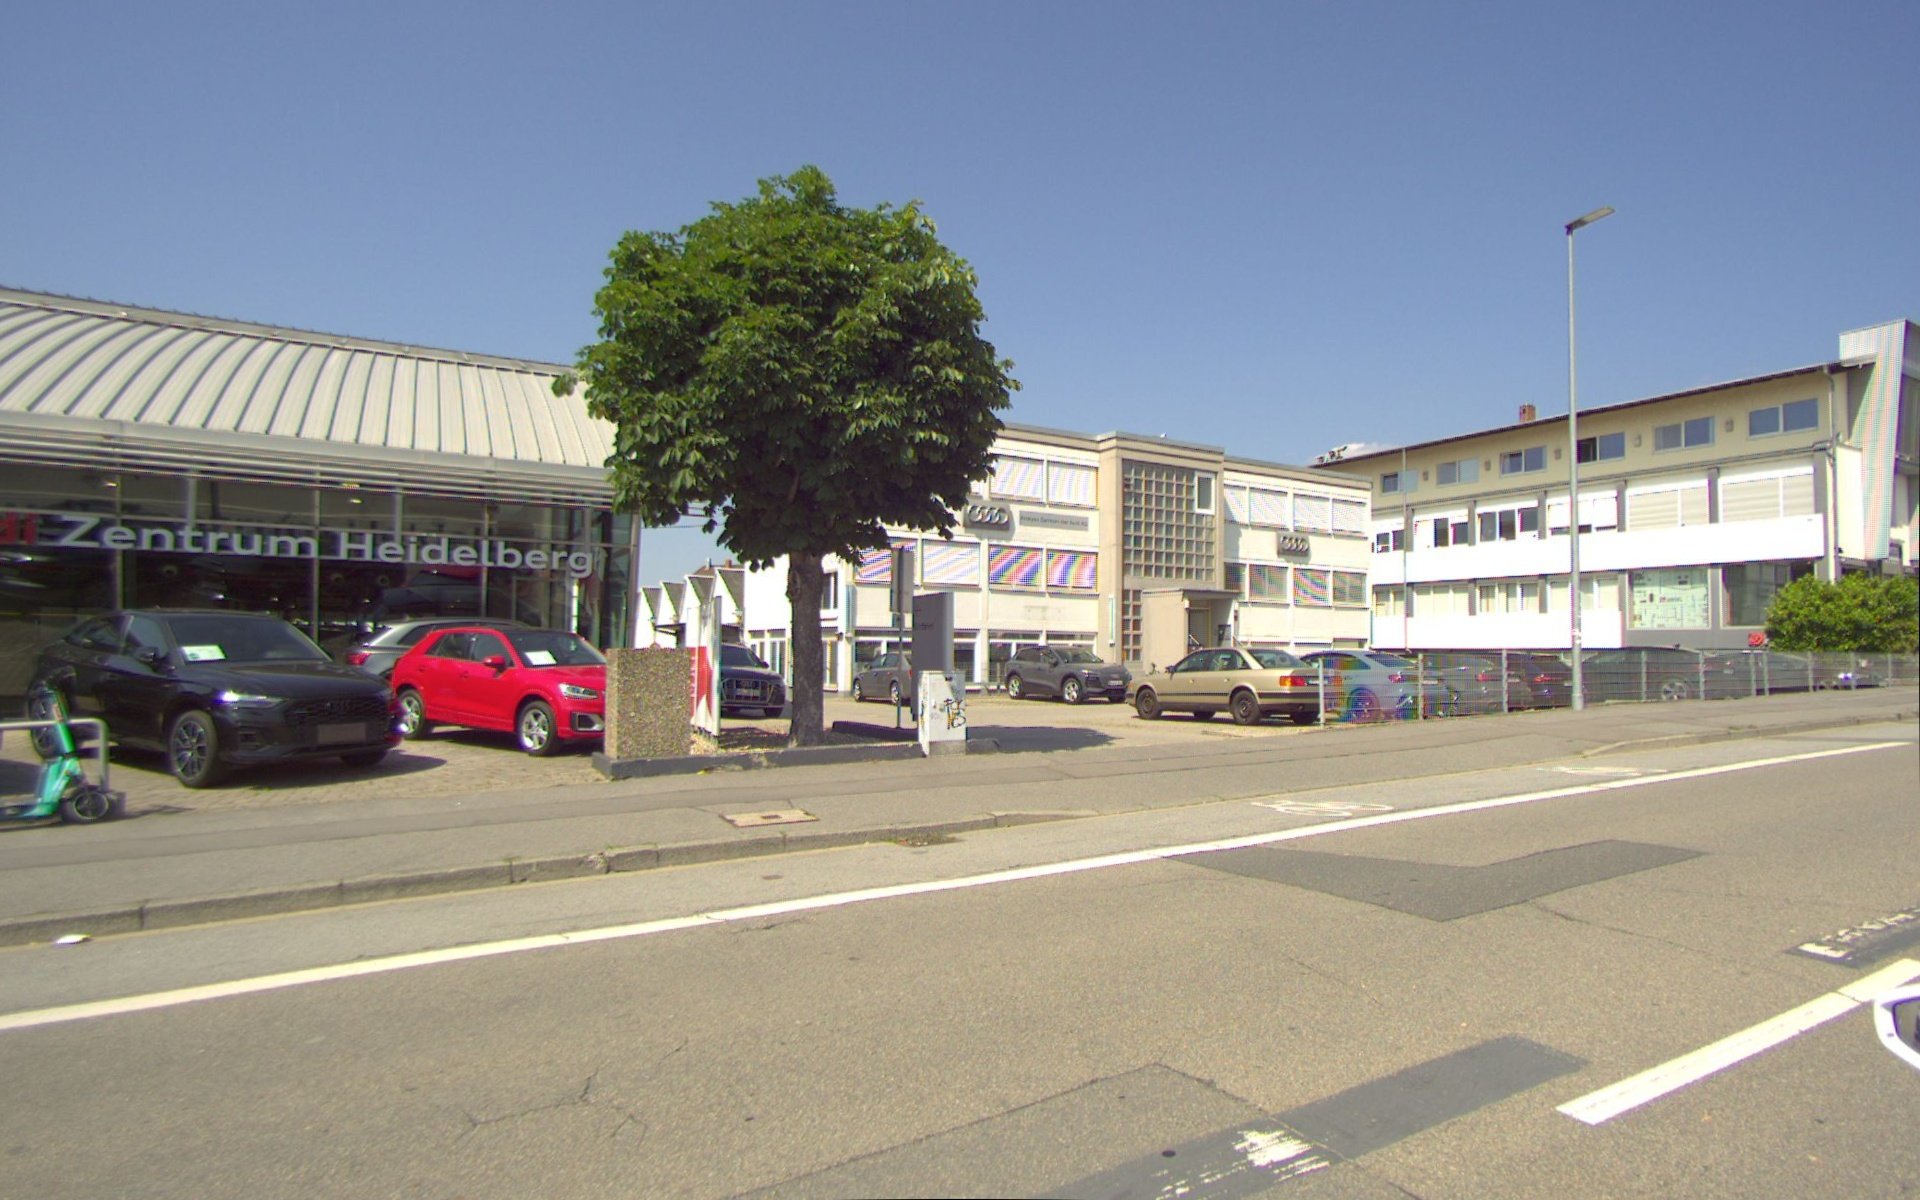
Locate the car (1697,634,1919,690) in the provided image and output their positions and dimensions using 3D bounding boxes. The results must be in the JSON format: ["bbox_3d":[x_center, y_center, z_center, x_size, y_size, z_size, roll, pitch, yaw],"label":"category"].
[{"bbox_3d":[25.162,1.812,29.959,2.025,1.500,4.716,1,-3,-31],"label":"car"}]

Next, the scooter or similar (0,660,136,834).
[{"bbox_3d":[-7.380,1.121,7.795,1.477,1.264,0.738,1,-2,-38],"label":"scooter or similar"}]

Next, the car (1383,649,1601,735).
[{"bbox_3d":[12.047,2.038,22.983,1.840,1.510,3.963,4,0,-33],"label":"car"}]

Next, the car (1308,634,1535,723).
[{"bbox_3d":[9.637,1.601,21.263,1.839,1.462,3.965,4,0,-32],"label":"car"}]

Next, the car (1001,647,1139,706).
[{"bbox_3d":[3.213,2.233,30.252,1.839,1.573,4.330,1,-2,-32],"label":"car"}]

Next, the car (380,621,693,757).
[{"bbox_3d":[-5.675,1.083,13.403,3.928,1.570,1.856,-1,-2,30],"label":"car"}]

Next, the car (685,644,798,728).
[{"bbox_3d":[-4.596,1.700,20.784,1.855,1.527,3.462,0,-2,-20],"label":"car"}]

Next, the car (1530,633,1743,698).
[{"bbox_3d":[17.863,1.699,26.734,1.974,1.579,4.272,1,-3,-33],"label":"car"}]

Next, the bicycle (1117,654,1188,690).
[{"bbox_3d":[6.817,2.539,35.560,2.548,1.194,0.920,1,-2,-32],"label":"bicycle"}]

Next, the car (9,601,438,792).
[{"bbox_3d":[-8.120,0.918,11.065,4.396,1.730,1.909,0,-1,25],"label":"car"}]

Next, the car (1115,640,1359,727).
[{"bbox_3d":[5.202,1.537,19.501,1.879,1.476,4.501,1,-3,-31],"label":"car"}]

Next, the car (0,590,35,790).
[{"bbox_3d":[-10.597,0.790,8.964,4.494,1.719,1.858,-1,-2,25],"label":"car"}]

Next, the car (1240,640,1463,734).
[{"bbox_3d":[7.793,1.692,20.323,1.803,1.463,3.870,4,0,-31],"label":"car"}]

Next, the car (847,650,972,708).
[{"bbox_3d":[-1.463,2.097,27.419,1.837,1.377,3.969,1,-2,-30],"label":"car"}]

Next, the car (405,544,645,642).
[{"bbox_3d":[-8.037,-0.078,19.002,3.936,1.706,1.993,0,-2,-17],"label":"car"}]
